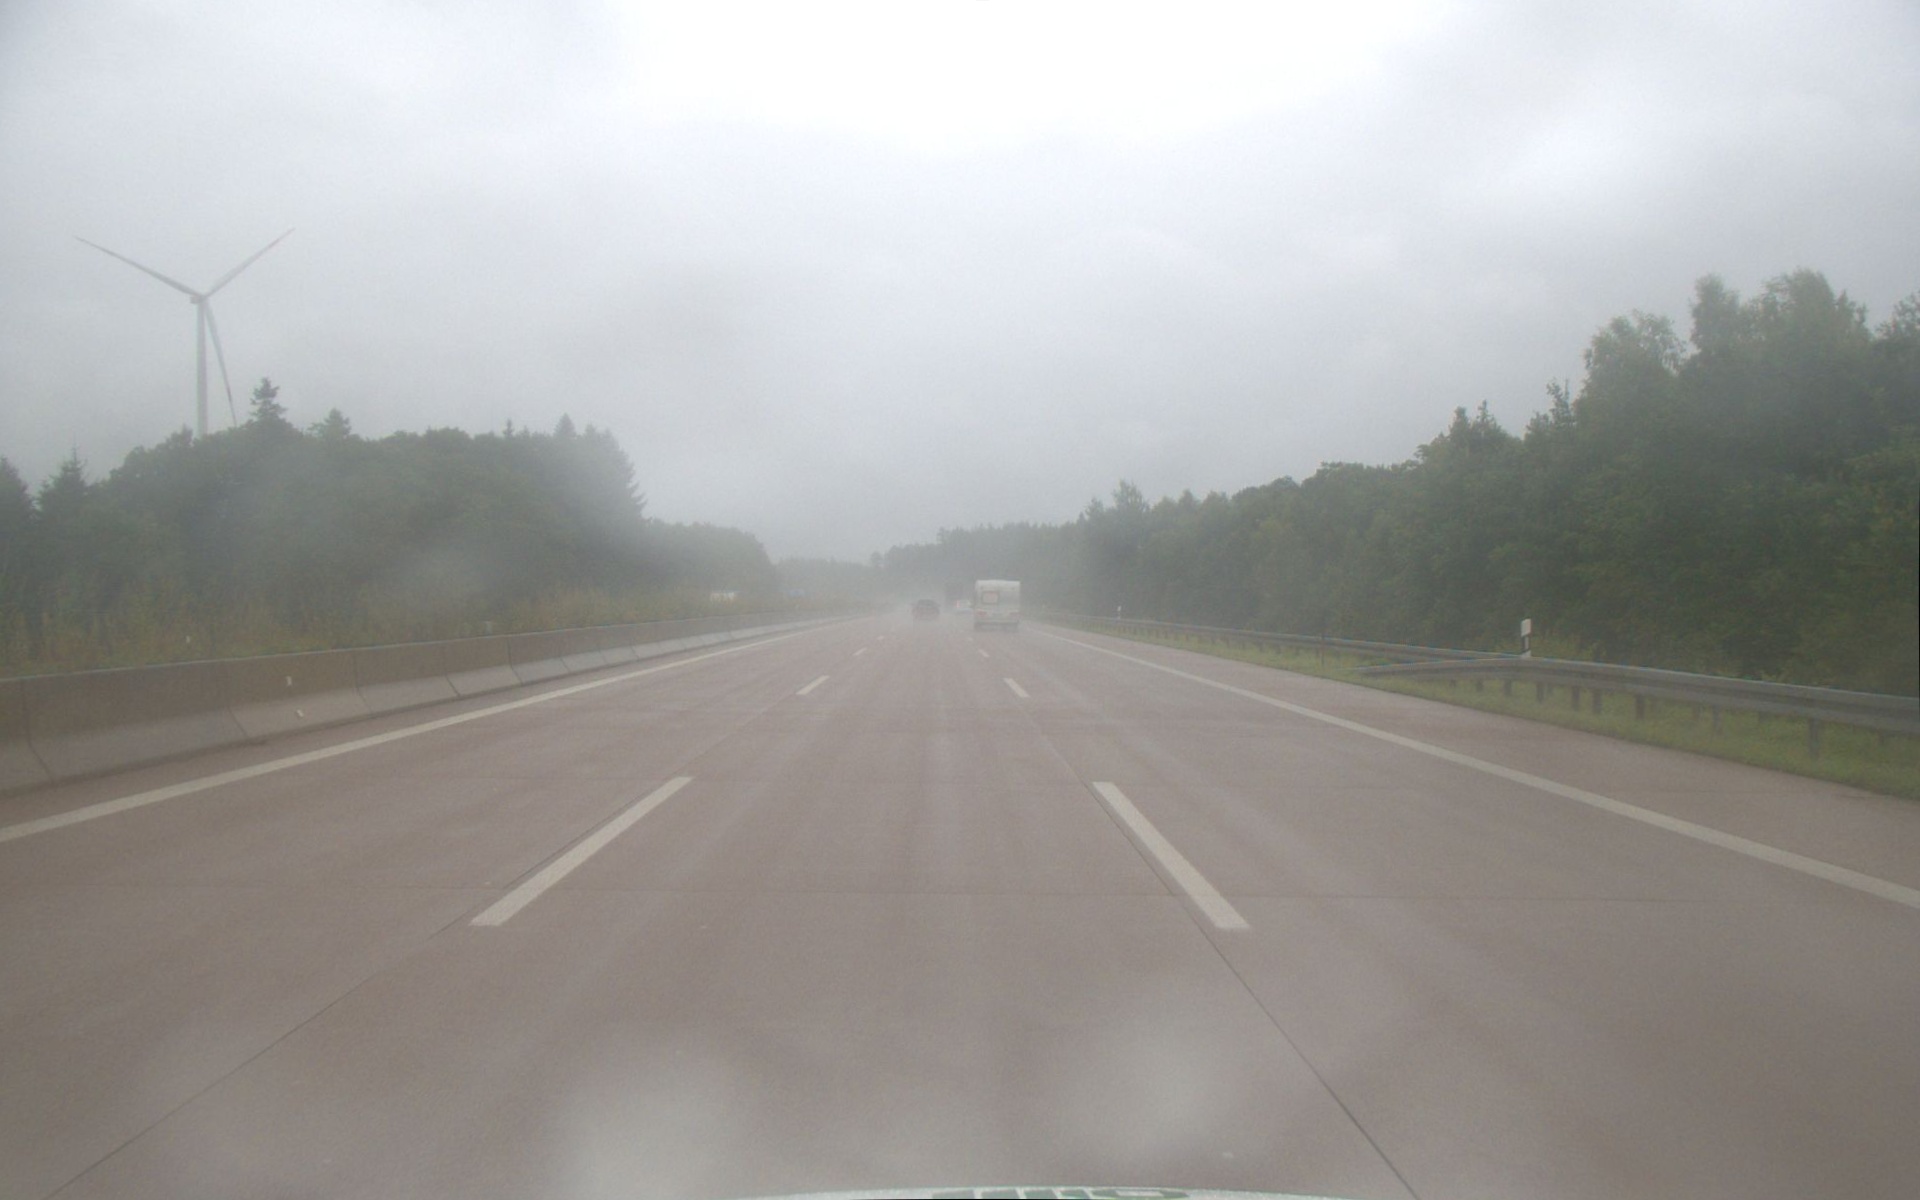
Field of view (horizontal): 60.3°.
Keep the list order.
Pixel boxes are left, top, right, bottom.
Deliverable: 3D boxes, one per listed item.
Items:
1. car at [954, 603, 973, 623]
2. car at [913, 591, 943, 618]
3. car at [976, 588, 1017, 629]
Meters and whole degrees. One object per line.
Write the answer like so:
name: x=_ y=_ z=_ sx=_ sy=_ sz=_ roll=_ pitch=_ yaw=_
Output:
car: x=0.352 y=1.342 z=172.720 sx=1.897 sy=2.016 sz=4.130 roll=1 pitch=0 yaw=0
car: x=-2.193 y=0.310 z=113.837 sx=1.897 sy=1.760 sz=4.130 roll=1 pitch=0 yaw=0
car: x=1.840 y=0.400 z=84.295 sx=2.016 sy=2.035 sz=4.098 roll=0 pitch=0 yaw=0
